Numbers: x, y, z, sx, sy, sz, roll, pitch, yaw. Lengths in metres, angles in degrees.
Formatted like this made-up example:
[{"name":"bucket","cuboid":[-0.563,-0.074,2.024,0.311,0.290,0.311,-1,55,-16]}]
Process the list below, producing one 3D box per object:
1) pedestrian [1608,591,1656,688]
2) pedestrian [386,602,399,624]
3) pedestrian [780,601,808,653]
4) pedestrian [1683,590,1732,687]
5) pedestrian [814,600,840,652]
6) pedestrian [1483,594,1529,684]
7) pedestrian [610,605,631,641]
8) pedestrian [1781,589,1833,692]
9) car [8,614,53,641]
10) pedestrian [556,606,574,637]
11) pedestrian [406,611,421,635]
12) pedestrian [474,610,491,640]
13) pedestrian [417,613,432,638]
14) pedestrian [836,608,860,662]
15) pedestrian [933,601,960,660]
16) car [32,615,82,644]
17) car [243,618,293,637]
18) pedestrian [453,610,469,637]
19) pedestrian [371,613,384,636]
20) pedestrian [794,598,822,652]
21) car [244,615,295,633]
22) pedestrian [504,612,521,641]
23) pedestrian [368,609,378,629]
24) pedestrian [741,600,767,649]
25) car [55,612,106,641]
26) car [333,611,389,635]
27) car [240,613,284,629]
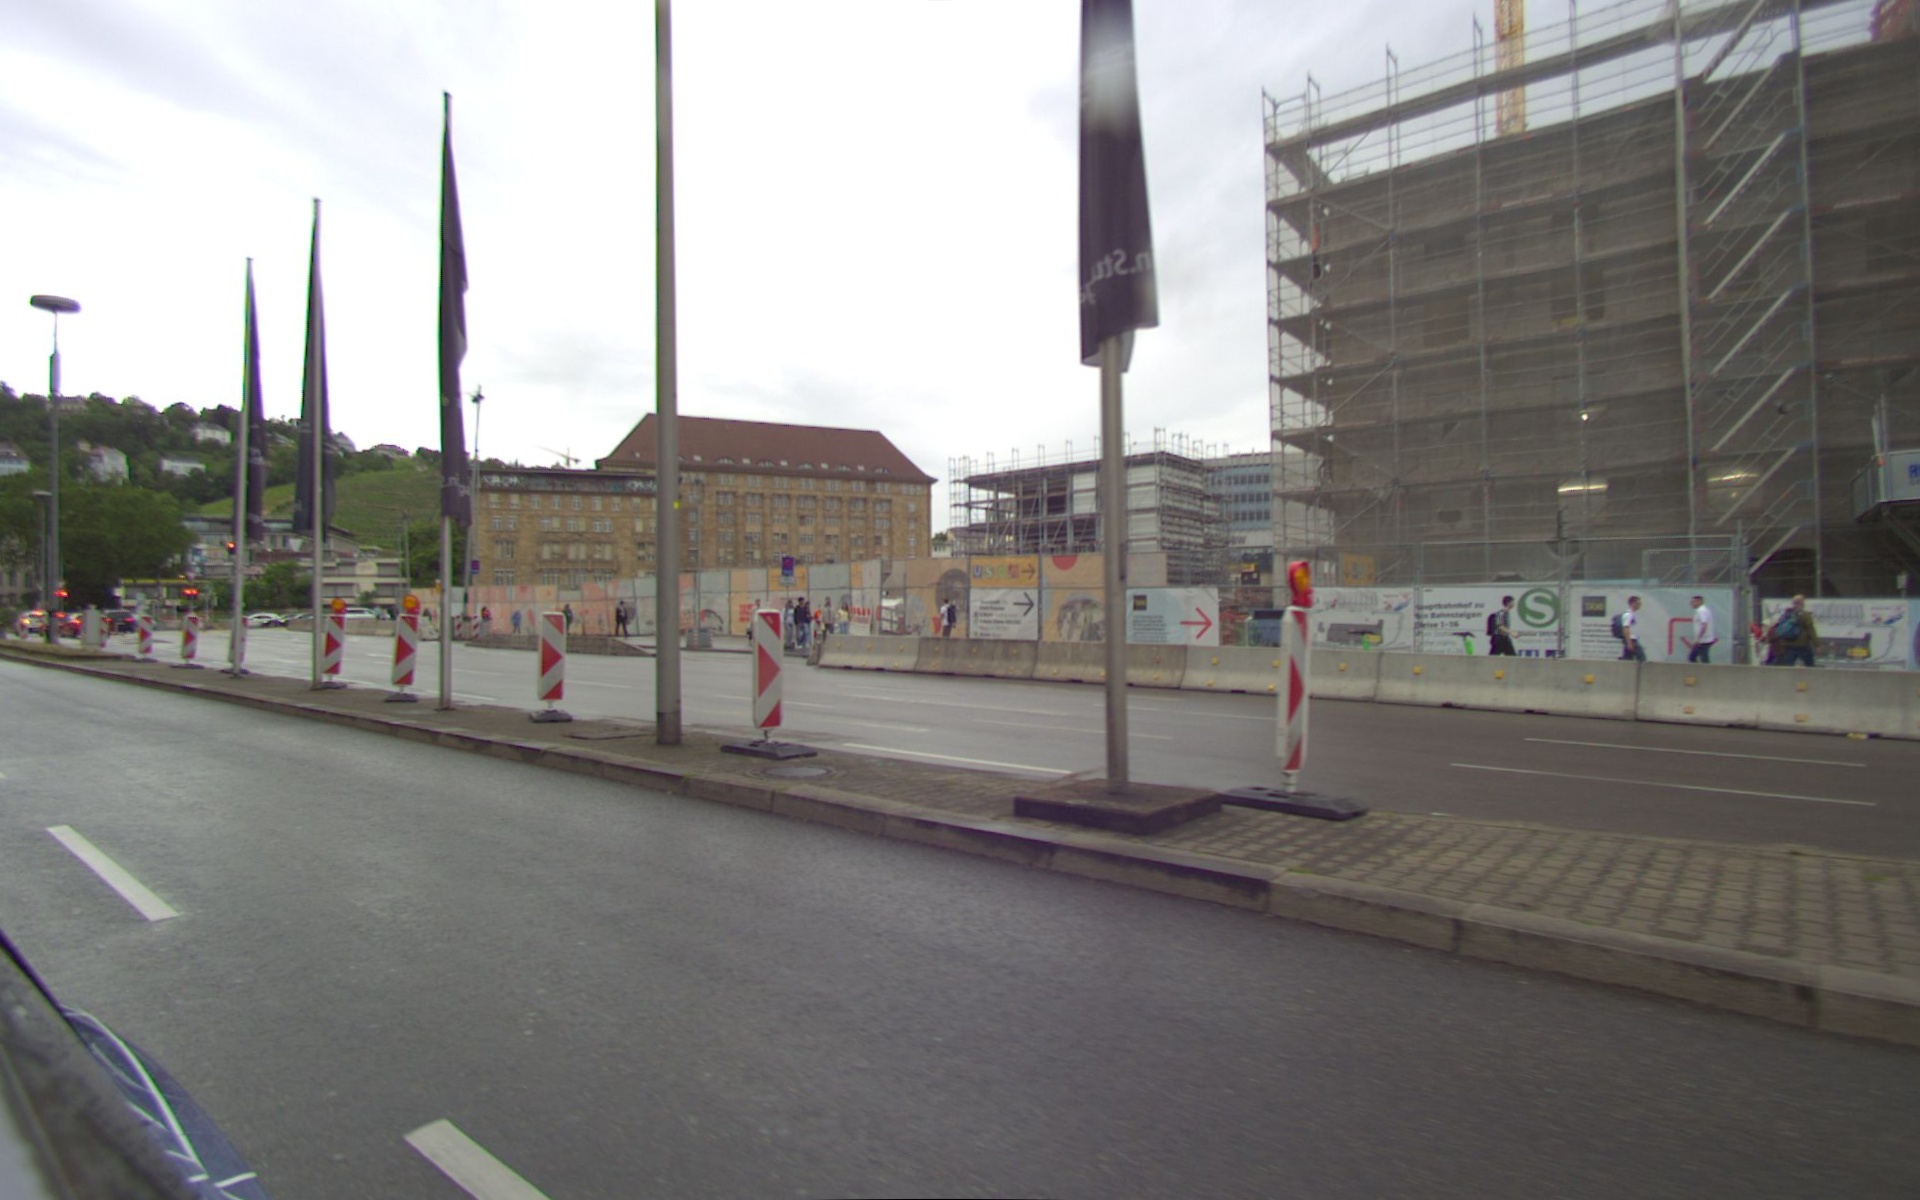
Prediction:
[{"name":"pedestrian","cuboid":[13.147,0.750,19.804,0.717,1.850,0.475,0,0,41]},{"name":"pedestrian","cuboid":[-41.373,0.930,73.760,0.705,1.628,0.544,-1,0,-45]},{"name":"pedestrian","cuboid":[-5.666,0.914,34.568,0.704,1.746,0.719,-1,0,-31]},{"name":"pedestrian","cuboid":[14.615,0.731,19.787,0.717,1.850,0.475,0,0,41]},{"name":"pedestrian","cuboid":[-4.622,0.893,35.236,0.704,1.757,0.565,-1,0,-29]},{"name":"pedestrian","cuboid":[11.451,0.804,21.224,0.717,1.850,0.579,0,0,41]},{"name":"pedestrian","cuboid":[-15.389,1.039,45.844,0.544,1.628,0.706,0,0,41]},{"name":"pedestrian","cuboid":[15.625,0.728,18.668,0.717,1.850,0.475,0,0,41]},{"name":"car","cuboid":[-63.524,1.866,69.141,3.913,1.706,1.763,0,1,39]},{"name":"pedestrian","cuboid":[-20.967,1.128,53.746,0.544,1.628,0.706,0,0,41]},{"name":"pedestrian","cuboid":[-37.166,1.566,68.855,0.544,1.628,0.706,0,0,41]},{"name":"pedestrian","cuboid":[-26.993,1.398,57.167,0.544,1.628,0.706,0,0,41]},{"name":"pedestrian","cuboid":[-34.481,1.643,65.144,0.544,1.628,0.706,0,0,41]},{"name":"pedestrian","cuboid":[-3.930,1.213,35.644,0.651,1.850,0.557,-1,0,-29]},{"name":"pedestrian","cuboid":[-0.425,0.959,32.460,0.717,1.850,0.475,0,0,41]},{"name":"car","cuboid":[-57.091,1.829,63.961,3.913,1.706,1.763,0,1,39]},{"name":"car","cuboid":[-73.615,2.889,107.660,4.137,1.871,1.833,-1,1,-44]},{"name":"pedestrian","cuboid":[-29.915,1.405,60.647,0.544,1.628,0.706,0,0,41]},{"name":"pedestrian","cuboid":[-42.089,1.731,73.128,0.705,1.628,0.544,-1,0,-45]},{"name":"pedestrian","cuboid":[-5.351,0.864,35.610,0.704,1.850,0.719,-1,0,-31]},{"name":"car","cuboid":[-64.530,2.261,94.591,3.934,1.644,2.005,0,-1,-36]},{"name":"pedestrian","cuboid":[-25.129,1.482,56.864,0.544,1.628,0.706,0,0,41]},{"name":"pedestrian","cuboid":[-48.441,1.577,83.492,0.704,1.628,0.545,-1,0,-32]},{"name":"pedestrian","cuboid":[-7.817,0.922,38.430,0.720,1.850,0.656,0,0,41]},{"name":"car","cuboid":[-52.572,1.572,60.486,3.914,1.707,1.762,-1,-1,41]},{"name":"car","cuboid":[-54.904,2.117,92.708,4.328,2.029,2.006,-1,1,-33]},{"name":"car","cuboid":[-75.680,2.286,109.738,3.934,1.644,2.005,0,-1,-36]}]
